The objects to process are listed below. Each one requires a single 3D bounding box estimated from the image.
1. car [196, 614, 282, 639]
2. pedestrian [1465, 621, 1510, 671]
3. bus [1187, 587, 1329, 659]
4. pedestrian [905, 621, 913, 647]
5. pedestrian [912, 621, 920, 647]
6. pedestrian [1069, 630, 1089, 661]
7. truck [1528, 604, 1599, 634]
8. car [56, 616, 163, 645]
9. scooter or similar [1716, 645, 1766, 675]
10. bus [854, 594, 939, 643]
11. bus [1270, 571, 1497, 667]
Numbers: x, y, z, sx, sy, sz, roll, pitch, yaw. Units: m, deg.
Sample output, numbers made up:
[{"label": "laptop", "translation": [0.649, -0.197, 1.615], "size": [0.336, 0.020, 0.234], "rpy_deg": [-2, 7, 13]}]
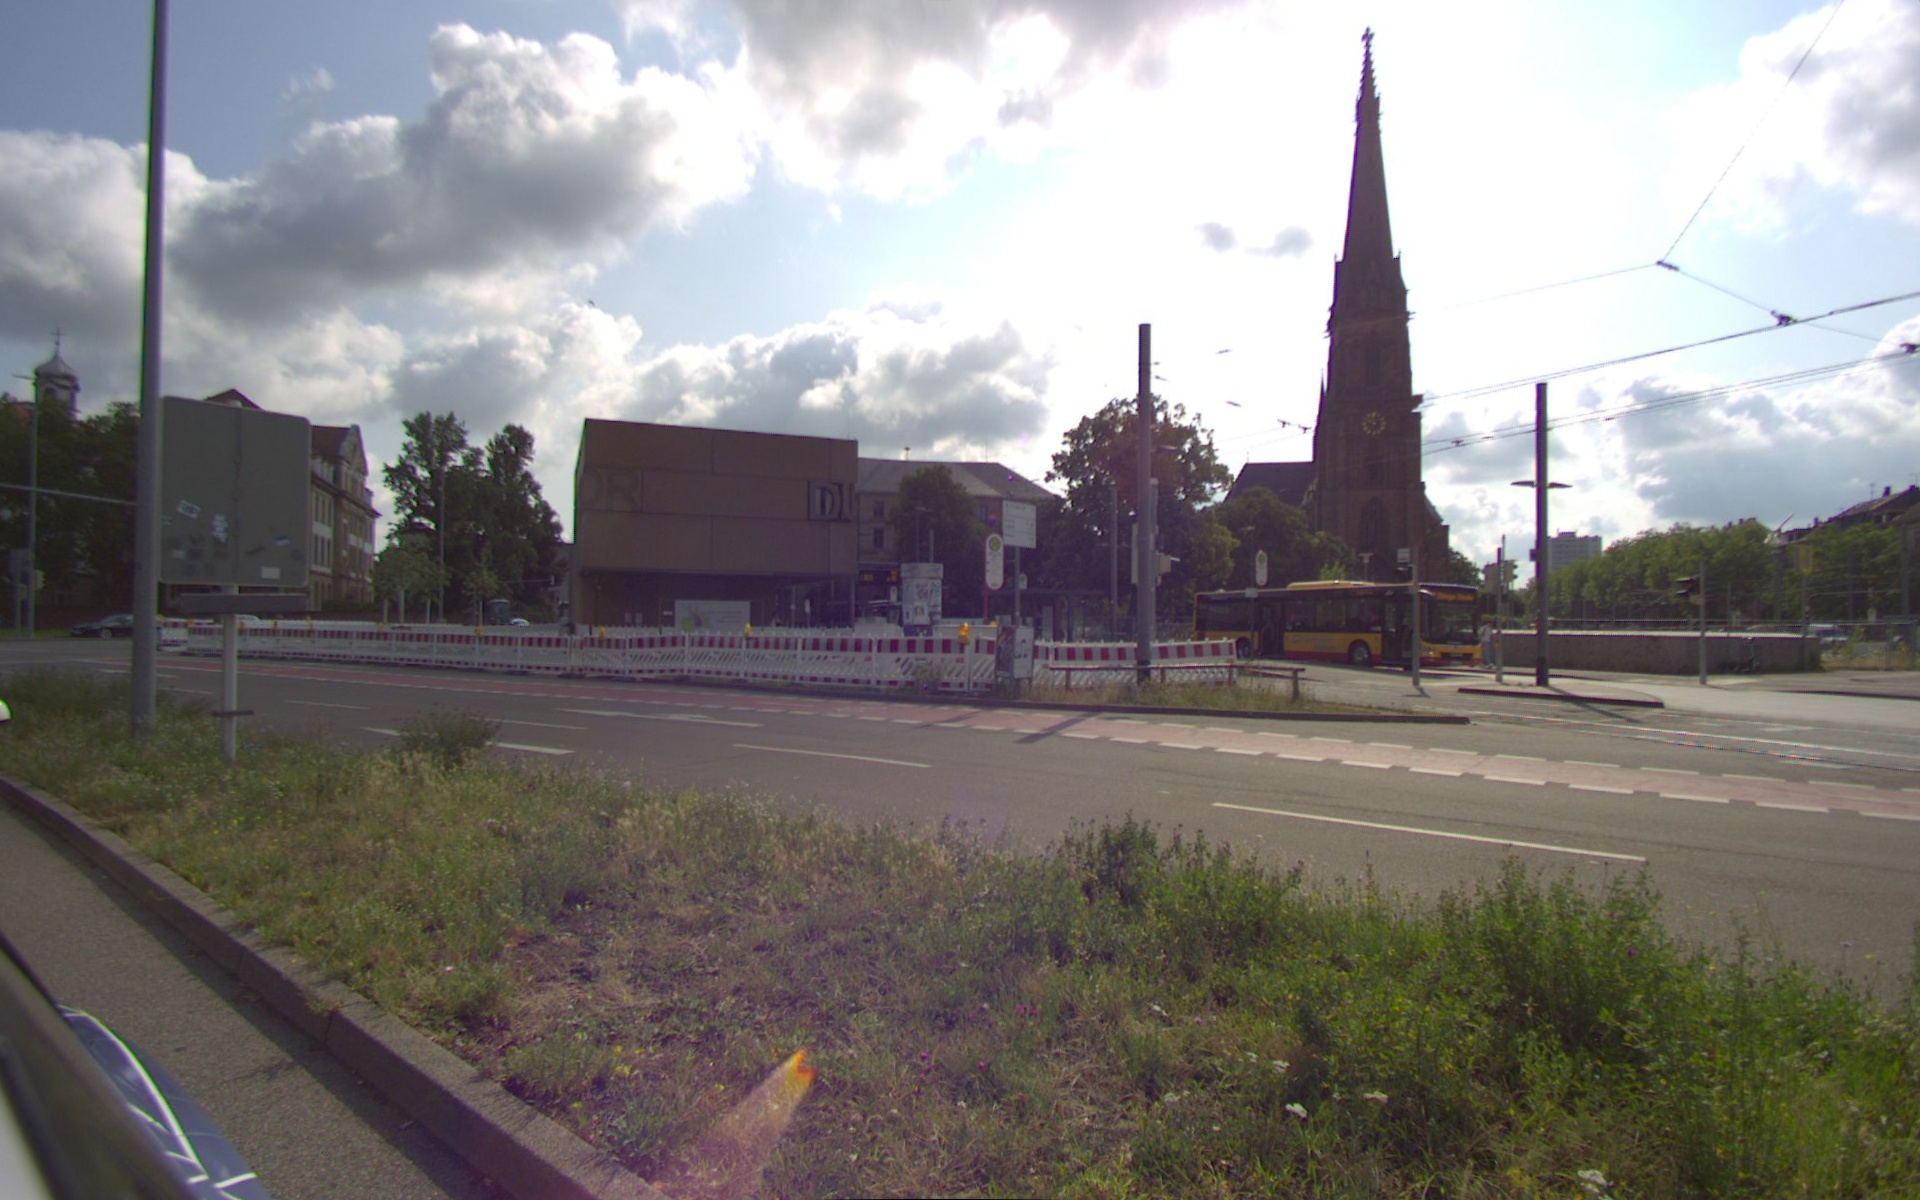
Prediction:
[{"label": "car", "translation": [-43.002, 1.615, 60.455], "size": [1.741, 1.401, 4.115], "rpy_deg": [-1, -2, 11]}, {"label": "pedestrian", "translation": [19.694, 1.694, 37.800], "size": [0.914, 1.702, 1.101], "rpy_deg": [-5, 3, -24]}, {"label": "bus", "translation": [11.467, 0.908, 39.385], "size": [2.654, 2.607, 5.094], "rpy_deg": [1, -2, -23]}, {"label": "pedestrian", "translation": [-3.196, 2.121, 63.228], "size": [0.352, 1.614, 0.365], "rpy_deg": [1, -2, -28]}, {"label": "pedestrian", "translation": [-2.754, 2.132, 63.406], "size": [0.352, 1.614, 0.365], "rpy_deg": [1, -2, -28]}, {"label": "pedestrian", "translation": [6.191, 2.349, 52.602], "size": [0.654, 1.617, 0.740], "rpy_deg": [2, -3, -42]}, {"label": "truck", "translation": [76.482, 2.382, 128.459], "size": [7.394, 3.676, 2.454], "rpy_deg": [1, -1, 21]}, {"label": "car", "translation": [-44.488, 1.607, 53.061], "size": [1.741, 1.401, 4.115], "rpy_deg": [-1, -2, 11]}, {"label": "scooter or similar", "translation": [25.218, 1.944, 32.668], "size": [1.635, 0.957, 0.475], "rpy_deg": [2, -2, -20]}, {"label": "bus", "translation": [-5.191, 1.510, 79.564], "size": [2.913, 3.534, 12.293], "rpy_deg": [1, -2, -22]}, {"label": "bus", "translation": [13.822, 0.661, 33.757], "size": [2.653, 2.855, 7.123], "rpy_deg": [1, -2, -23]}]
